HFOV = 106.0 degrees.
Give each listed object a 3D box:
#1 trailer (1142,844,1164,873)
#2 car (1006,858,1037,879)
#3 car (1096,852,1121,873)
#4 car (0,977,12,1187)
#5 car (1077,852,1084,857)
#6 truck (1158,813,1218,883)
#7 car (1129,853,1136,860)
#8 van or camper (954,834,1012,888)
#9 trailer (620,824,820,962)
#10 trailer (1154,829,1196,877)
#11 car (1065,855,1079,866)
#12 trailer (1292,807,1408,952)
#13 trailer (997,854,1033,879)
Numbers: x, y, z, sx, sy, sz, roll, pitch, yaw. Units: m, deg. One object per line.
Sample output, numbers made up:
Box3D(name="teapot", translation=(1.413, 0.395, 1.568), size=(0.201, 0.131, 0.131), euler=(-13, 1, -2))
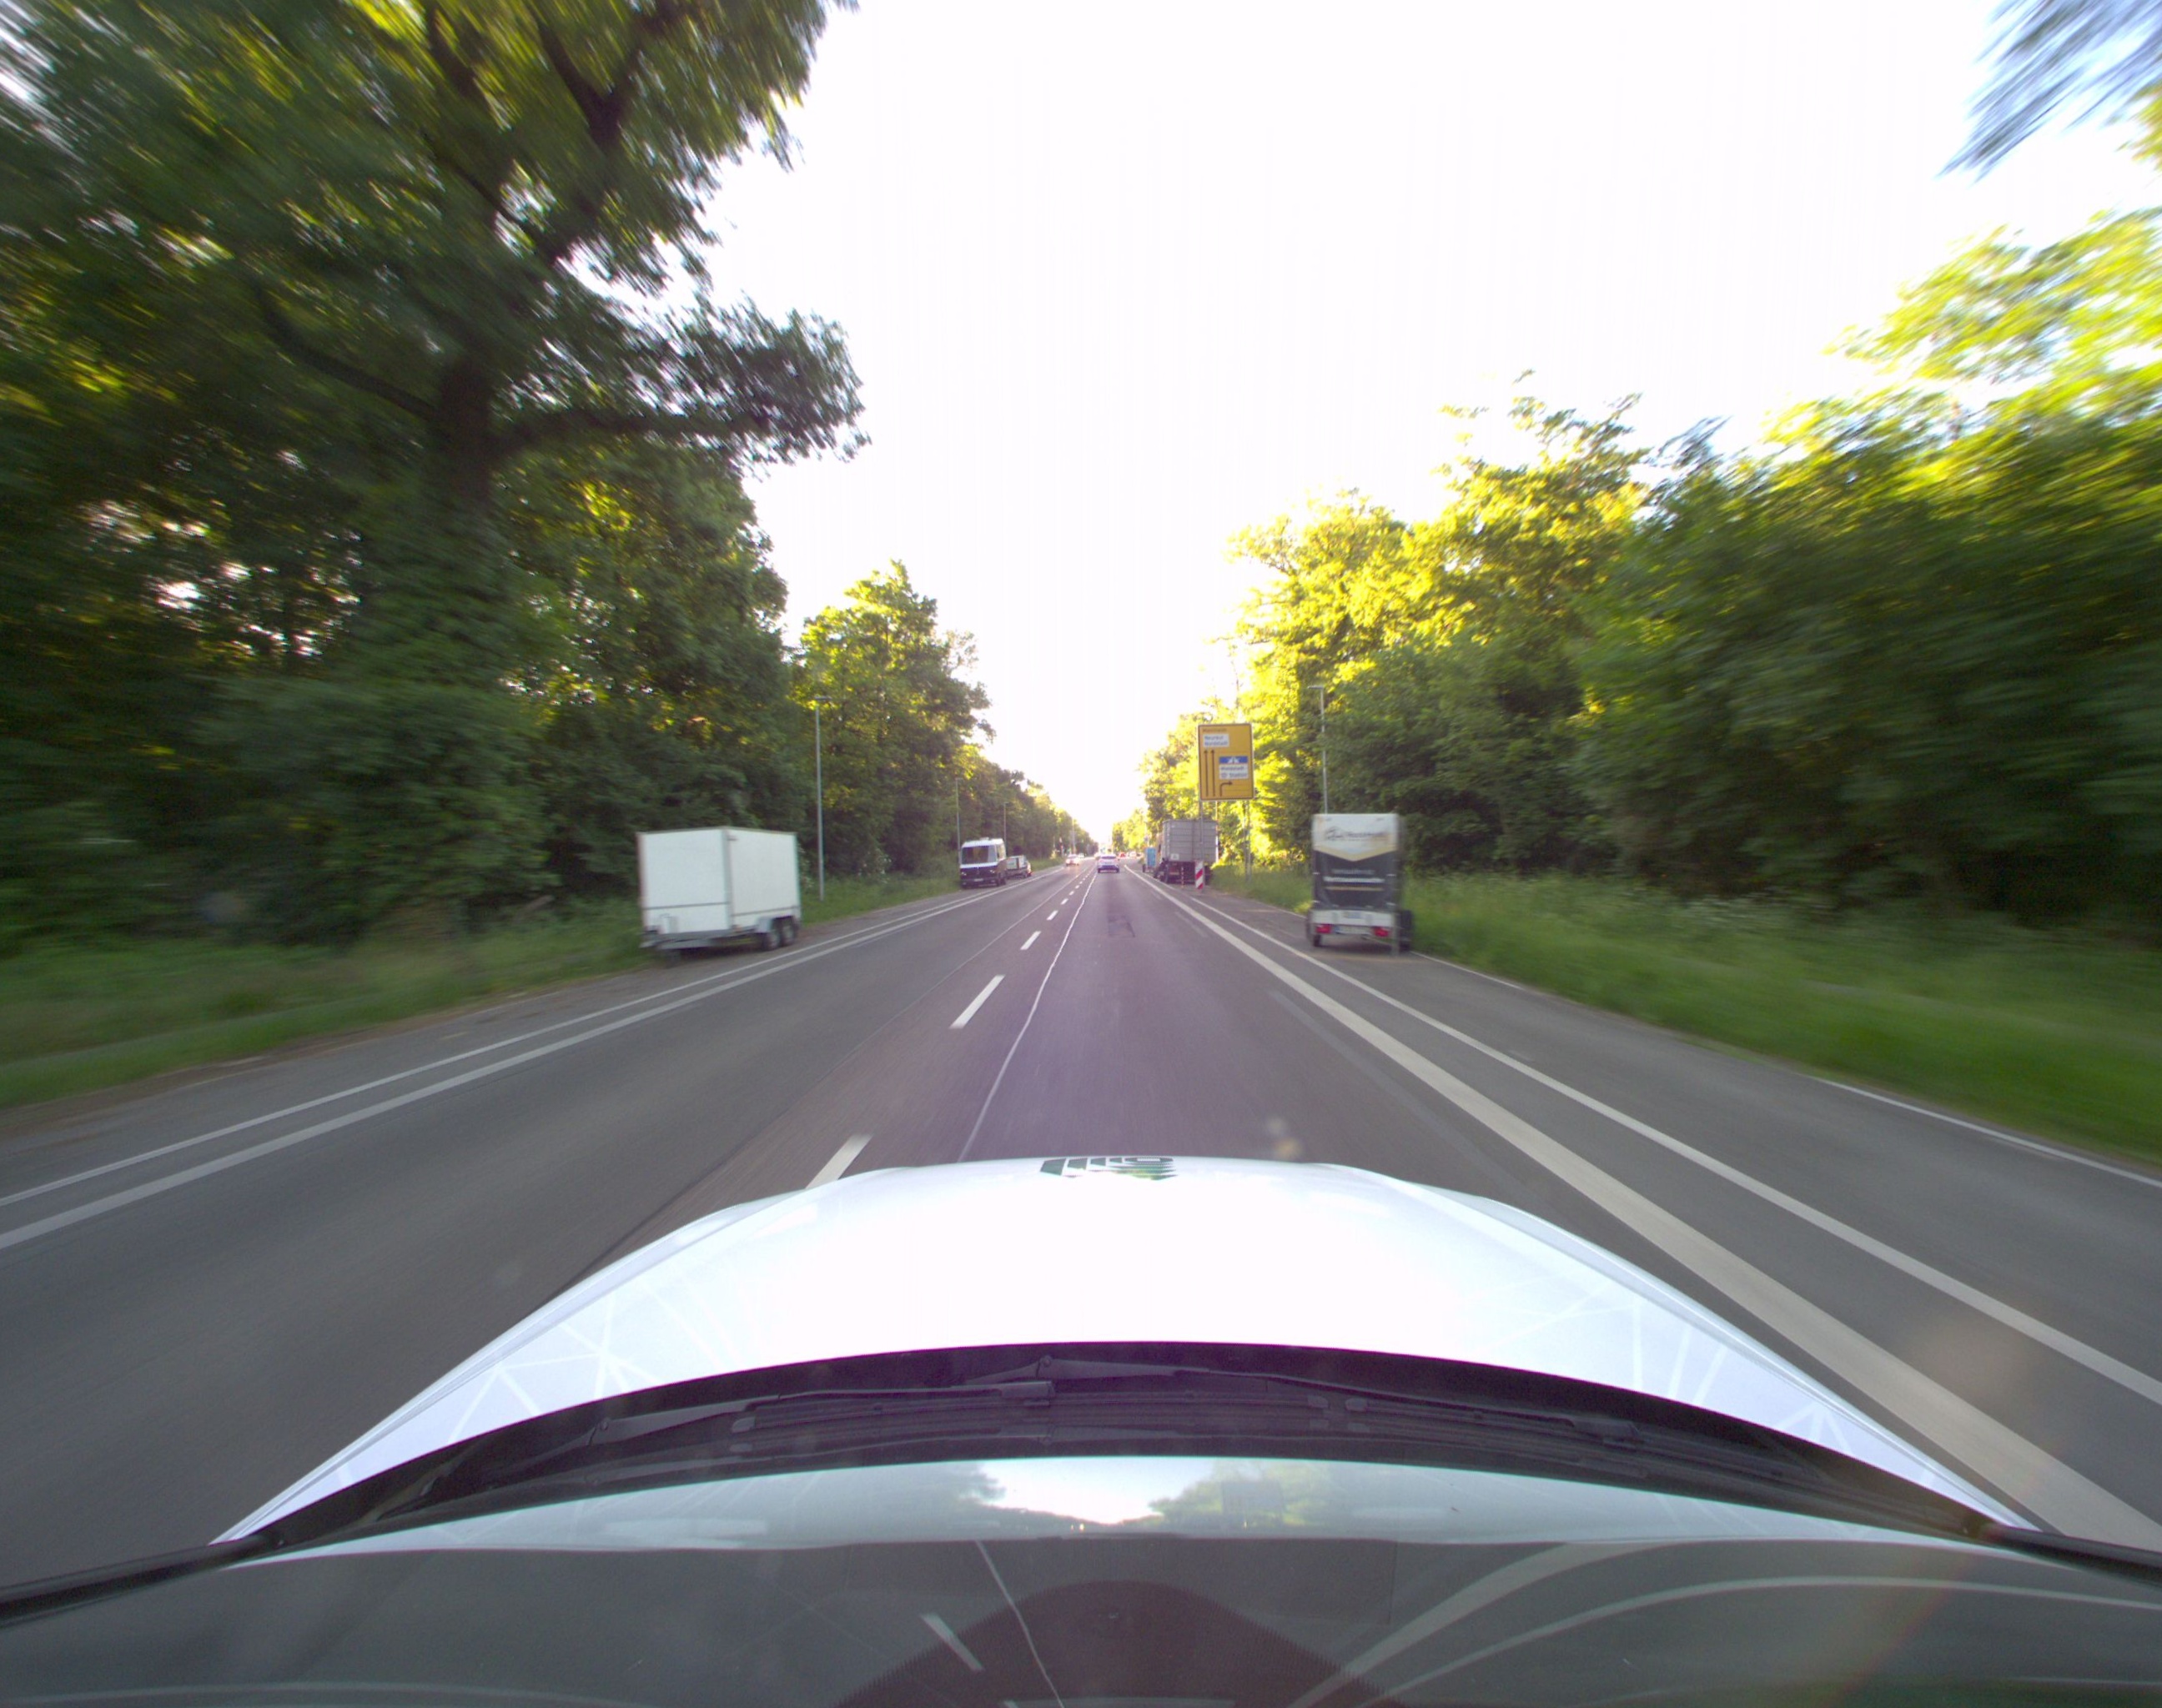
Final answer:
Box3D(name="trailer", translation=(5.846, 0.353, 66.471), size=(1.494, 2.235, 4.552), euler=(0, 0, 2))
Box3D(name="car", translation=(-4.630, 1.098, 64.127), size=(1.860, 1.463, 4.135), euler=(-5, 0, 2))
Box3D(name="car", translation=(2.296, 0.688, 68.053), size=(1.986, 1.640, 4.002), euler=(-2, 0, 2))
Box3D(name="car", translation=(-6.660, 1.041, 2.235), size=(1.809, 1.571, 4.206), euler=(-4, 0, 0))
Box3D(name="car", translation=(-0.143, 0.274, 243.167), size=(1.986, 1.464, 4.001), euler=(-1, 0, 2))
Box3D(name="truck", translation=(5.495, -0.264, 42.867), size=(2.495, 3.366, 7.111), euler=(-1, 0, 2))
Box3D(name="car", translation=(13.929, 0.663, 220.066), size=(1.985, 1.618, 4.003), euler=(0, 0, 3))
Box3D(name="van or camper", translation=(-5.496, 0.372, 46.596), size=(2.293, 2.768, 5.559), euler=(-4, 0, 2))
Box3D(name="trailer", translation=(-6.785, 0.682, 15.779), size=(2.066, 2.293, 3.490), euler=(-3, 0, 3))
Box3D(name="trailer", translation=(5.833, -0.060, 51.228), size=(2.263, 2.844, 5.210), euler=(0, 0, 3))
Box3D(name="car", translation=(-1.192, 0.872, 113.114), size=(1.672, 1.415, 4.002), euler=(-2, 0, 2))
Box3D(name="trailer", translation=(4.459, 0.379, 13.336), size=(1.600, 2.112, 2.409), euler=(-1, 0, 22))
Box3D(name="trailer", translation=(-4.815, 0.904, 59.741), size=(1.459, 1.659, 3.379), euler=(-4, -1, 14))
